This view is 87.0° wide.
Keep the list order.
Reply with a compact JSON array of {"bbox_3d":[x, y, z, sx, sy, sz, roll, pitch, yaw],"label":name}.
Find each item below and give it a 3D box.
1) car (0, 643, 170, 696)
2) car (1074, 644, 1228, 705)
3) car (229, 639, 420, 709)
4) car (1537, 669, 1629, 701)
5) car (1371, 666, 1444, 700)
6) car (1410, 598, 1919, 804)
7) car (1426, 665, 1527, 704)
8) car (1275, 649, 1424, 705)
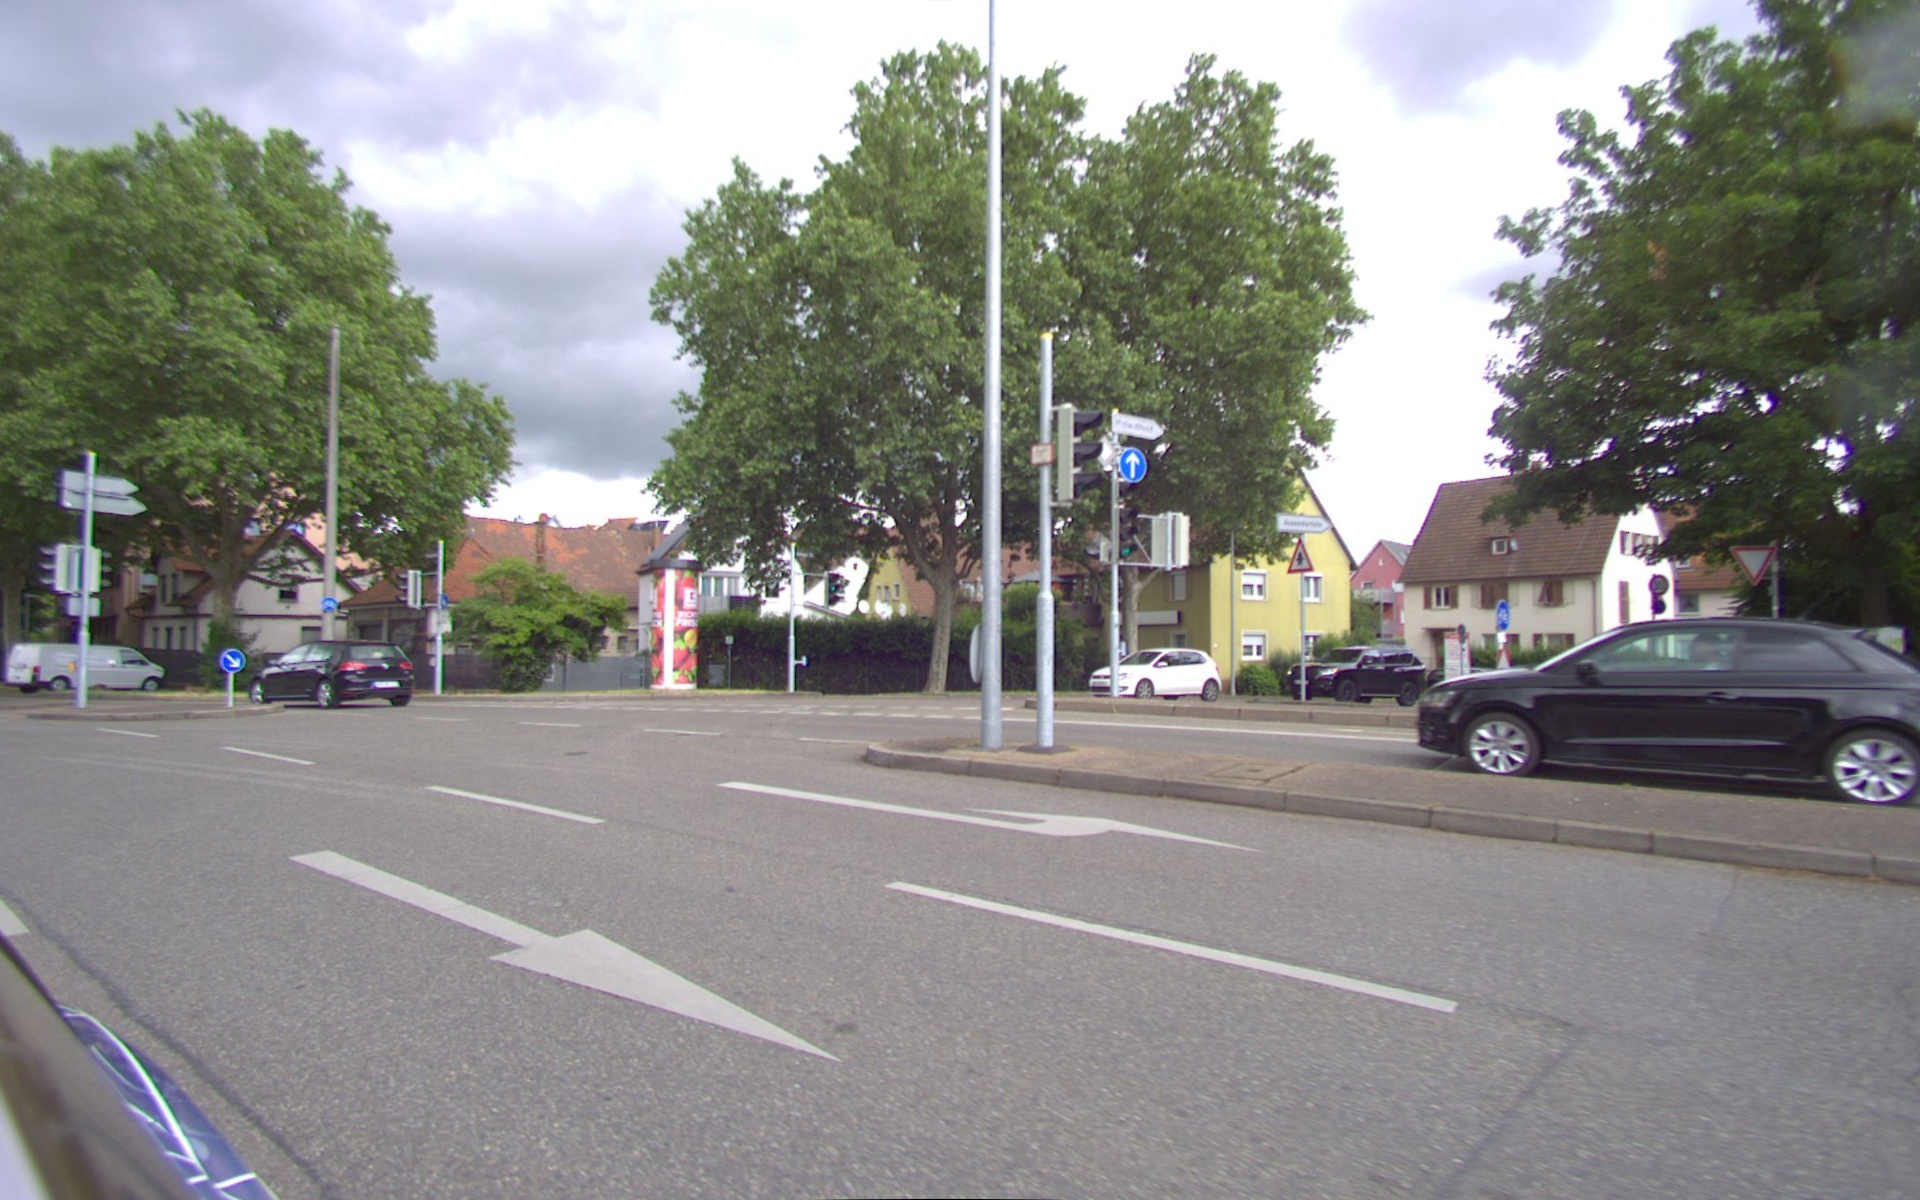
[{"bbox_3d":[-34.902,2.778,40.249,2.066,1.946,5.215,-1,-5,16],"label":"car"},{"bbox_3d":[5.112,1.925,26.952,3.789,1.491,1.831,1,-3,-33],"label":"car"},{"bbox_3d":[-13.778,1.562,21.896,4.292,1.376,1.666,-2,-2,29],"label":"car"},{"bbox_3d":[30.199,4.081,49.098,1.521,1.420,3.450,1,-3,-33],"label":"car"},{"bbox_3d":[21.705,3.994,49.163,1.440,1.507,2.937,1,-3,-30],"label":"car"},{"bbox_3d":[6.064,0.769,8.521,3.889,1.427,1.601,-2,-3,38],"label":"car"},{"bbox_3d":[23.464,3.810,46.120,1.733,1.576,3.744,1,-3,-30],"label":"car"},{"bbox_3d":[11.844,2.312,30.766,4.196,1.557,2.006,2,-3,-28],"label":"car"}]
